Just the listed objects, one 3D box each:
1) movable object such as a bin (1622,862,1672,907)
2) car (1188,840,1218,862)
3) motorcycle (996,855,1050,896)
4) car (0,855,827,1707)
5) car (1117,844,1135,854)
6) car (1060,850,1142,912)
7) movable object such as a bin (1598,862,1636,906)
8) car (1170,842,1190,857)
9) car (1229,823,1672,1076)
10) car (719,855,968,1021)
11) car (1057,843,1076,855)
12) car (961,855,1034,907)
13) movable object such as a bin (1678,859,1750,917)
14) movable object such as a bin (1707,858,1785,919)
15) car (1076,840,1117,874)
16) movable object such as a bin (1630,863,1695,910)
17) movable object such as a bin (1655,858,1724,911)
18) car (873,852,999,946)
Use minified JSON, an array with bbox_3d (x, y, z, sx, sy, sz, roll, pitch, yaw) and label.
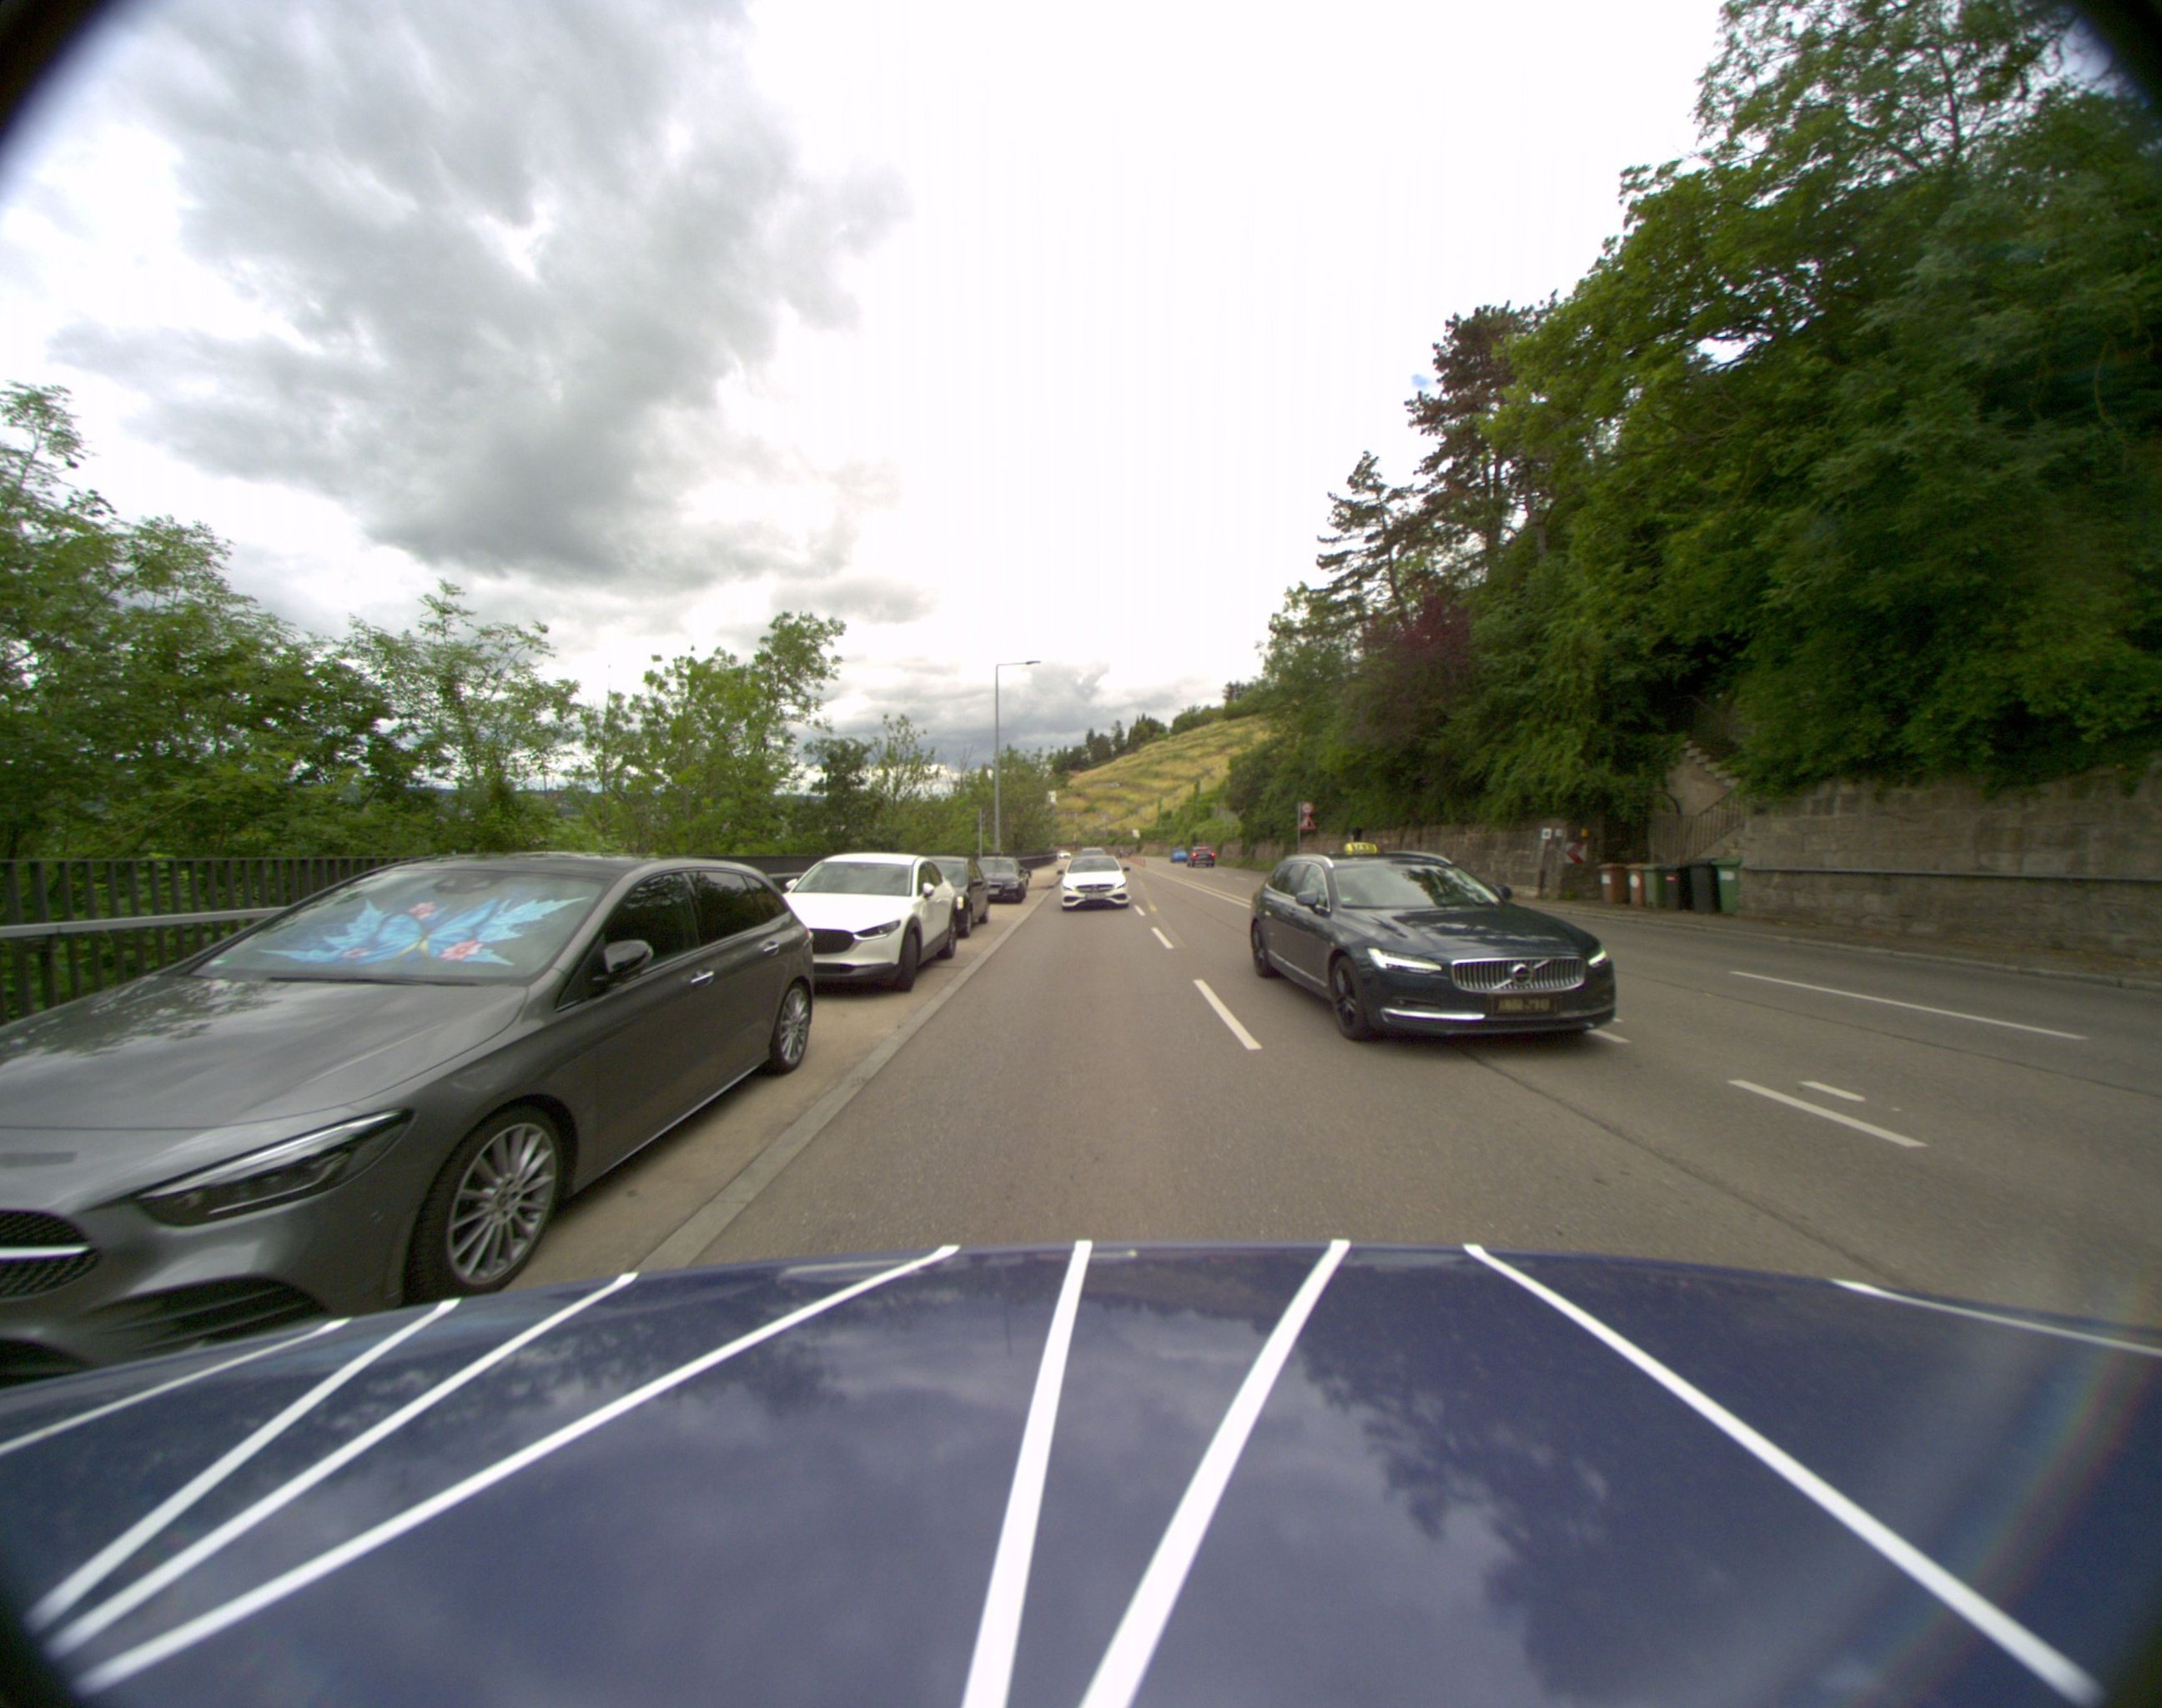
[{"bbox_3d":[12.304,0.657,16.538,0.675,0.960,0.543,-1,1,-3],"label":"movable object such as a bin"},{"bbox_3d":[9.854,-0.274,61.698,1.820,1.688,4.469,-1,1,2],"label":"car"},{"bbox_3d":[-2.213,0.797,29.255,0.770,1.459,2.509,-1,1,29],"label":"motorcycle"},{"bbox_3d":[-2.902,0.834,3.680,1.761,1.535,4.426,2,1,1],"label":"car"},{"bbox_3d":[6.681,-0.794,113.078,1.862,1.437,4.291,-2,1,-9],"label":"car"},{"bbox_3d":[0.575,0.679,20.392,1.903,1.418,4.266,-2,-1,3],"label":"car"},{"bbox_3d":[12.095,0.666,17.159,0.518,0.960,0.474,-1,1,-3],"label":"movable object such as a bin"},{"bbox_3d":[10.085,-0.450,77.413,1.587,1.453,3.523,-3,1,2],"label":"car"},{"bbox_3d":[2.878,0.590,7.422,1.939,1.567,5.026,-2,1,1],"label":"car"},{"bbox_3d":[-2.715,0.838,9.886,1.731,1.559,4.623,0,1,1],"label":"car"},{"bbox_3d":[-2.472,-0.829,124.694,2.001,2.002,3.993,-1,1,-18],"label":"car"},{"bbox_3d":[-2.571,0.782,24.278,1.828,1.393,4.318,2,1,0],"label":"car"},{"bbox_3d":[12.102,0.641,14.537,0.774,1.055,0.718,-1,1,-3],"label":"movable object such as a bin"},{"bbox_3d":[12.065,0.620,13.799,0.789,1.065,0.708,-1,0,-3],"label":"movable object such as a bin"},{"bbox_3d":[0.811,0.130,39.755,1.998,1.580,3.999,-3,1,1],"label":"car"},{"bbox_3d":[12.174,0.668,15.918,0.919,0.940,0.593,-1,1,-2],"label":"movable object such as a bin"},{"bbox_3d":[12.212,0.602,15.267,0.901,1.028,0.621,-1,1,-3],"label":"movable object such as a bin"},{"bbox_3d":[-2.795,0.794,15.539,1.663,1.563,4.255,2,1,1],"label":"car"}]
